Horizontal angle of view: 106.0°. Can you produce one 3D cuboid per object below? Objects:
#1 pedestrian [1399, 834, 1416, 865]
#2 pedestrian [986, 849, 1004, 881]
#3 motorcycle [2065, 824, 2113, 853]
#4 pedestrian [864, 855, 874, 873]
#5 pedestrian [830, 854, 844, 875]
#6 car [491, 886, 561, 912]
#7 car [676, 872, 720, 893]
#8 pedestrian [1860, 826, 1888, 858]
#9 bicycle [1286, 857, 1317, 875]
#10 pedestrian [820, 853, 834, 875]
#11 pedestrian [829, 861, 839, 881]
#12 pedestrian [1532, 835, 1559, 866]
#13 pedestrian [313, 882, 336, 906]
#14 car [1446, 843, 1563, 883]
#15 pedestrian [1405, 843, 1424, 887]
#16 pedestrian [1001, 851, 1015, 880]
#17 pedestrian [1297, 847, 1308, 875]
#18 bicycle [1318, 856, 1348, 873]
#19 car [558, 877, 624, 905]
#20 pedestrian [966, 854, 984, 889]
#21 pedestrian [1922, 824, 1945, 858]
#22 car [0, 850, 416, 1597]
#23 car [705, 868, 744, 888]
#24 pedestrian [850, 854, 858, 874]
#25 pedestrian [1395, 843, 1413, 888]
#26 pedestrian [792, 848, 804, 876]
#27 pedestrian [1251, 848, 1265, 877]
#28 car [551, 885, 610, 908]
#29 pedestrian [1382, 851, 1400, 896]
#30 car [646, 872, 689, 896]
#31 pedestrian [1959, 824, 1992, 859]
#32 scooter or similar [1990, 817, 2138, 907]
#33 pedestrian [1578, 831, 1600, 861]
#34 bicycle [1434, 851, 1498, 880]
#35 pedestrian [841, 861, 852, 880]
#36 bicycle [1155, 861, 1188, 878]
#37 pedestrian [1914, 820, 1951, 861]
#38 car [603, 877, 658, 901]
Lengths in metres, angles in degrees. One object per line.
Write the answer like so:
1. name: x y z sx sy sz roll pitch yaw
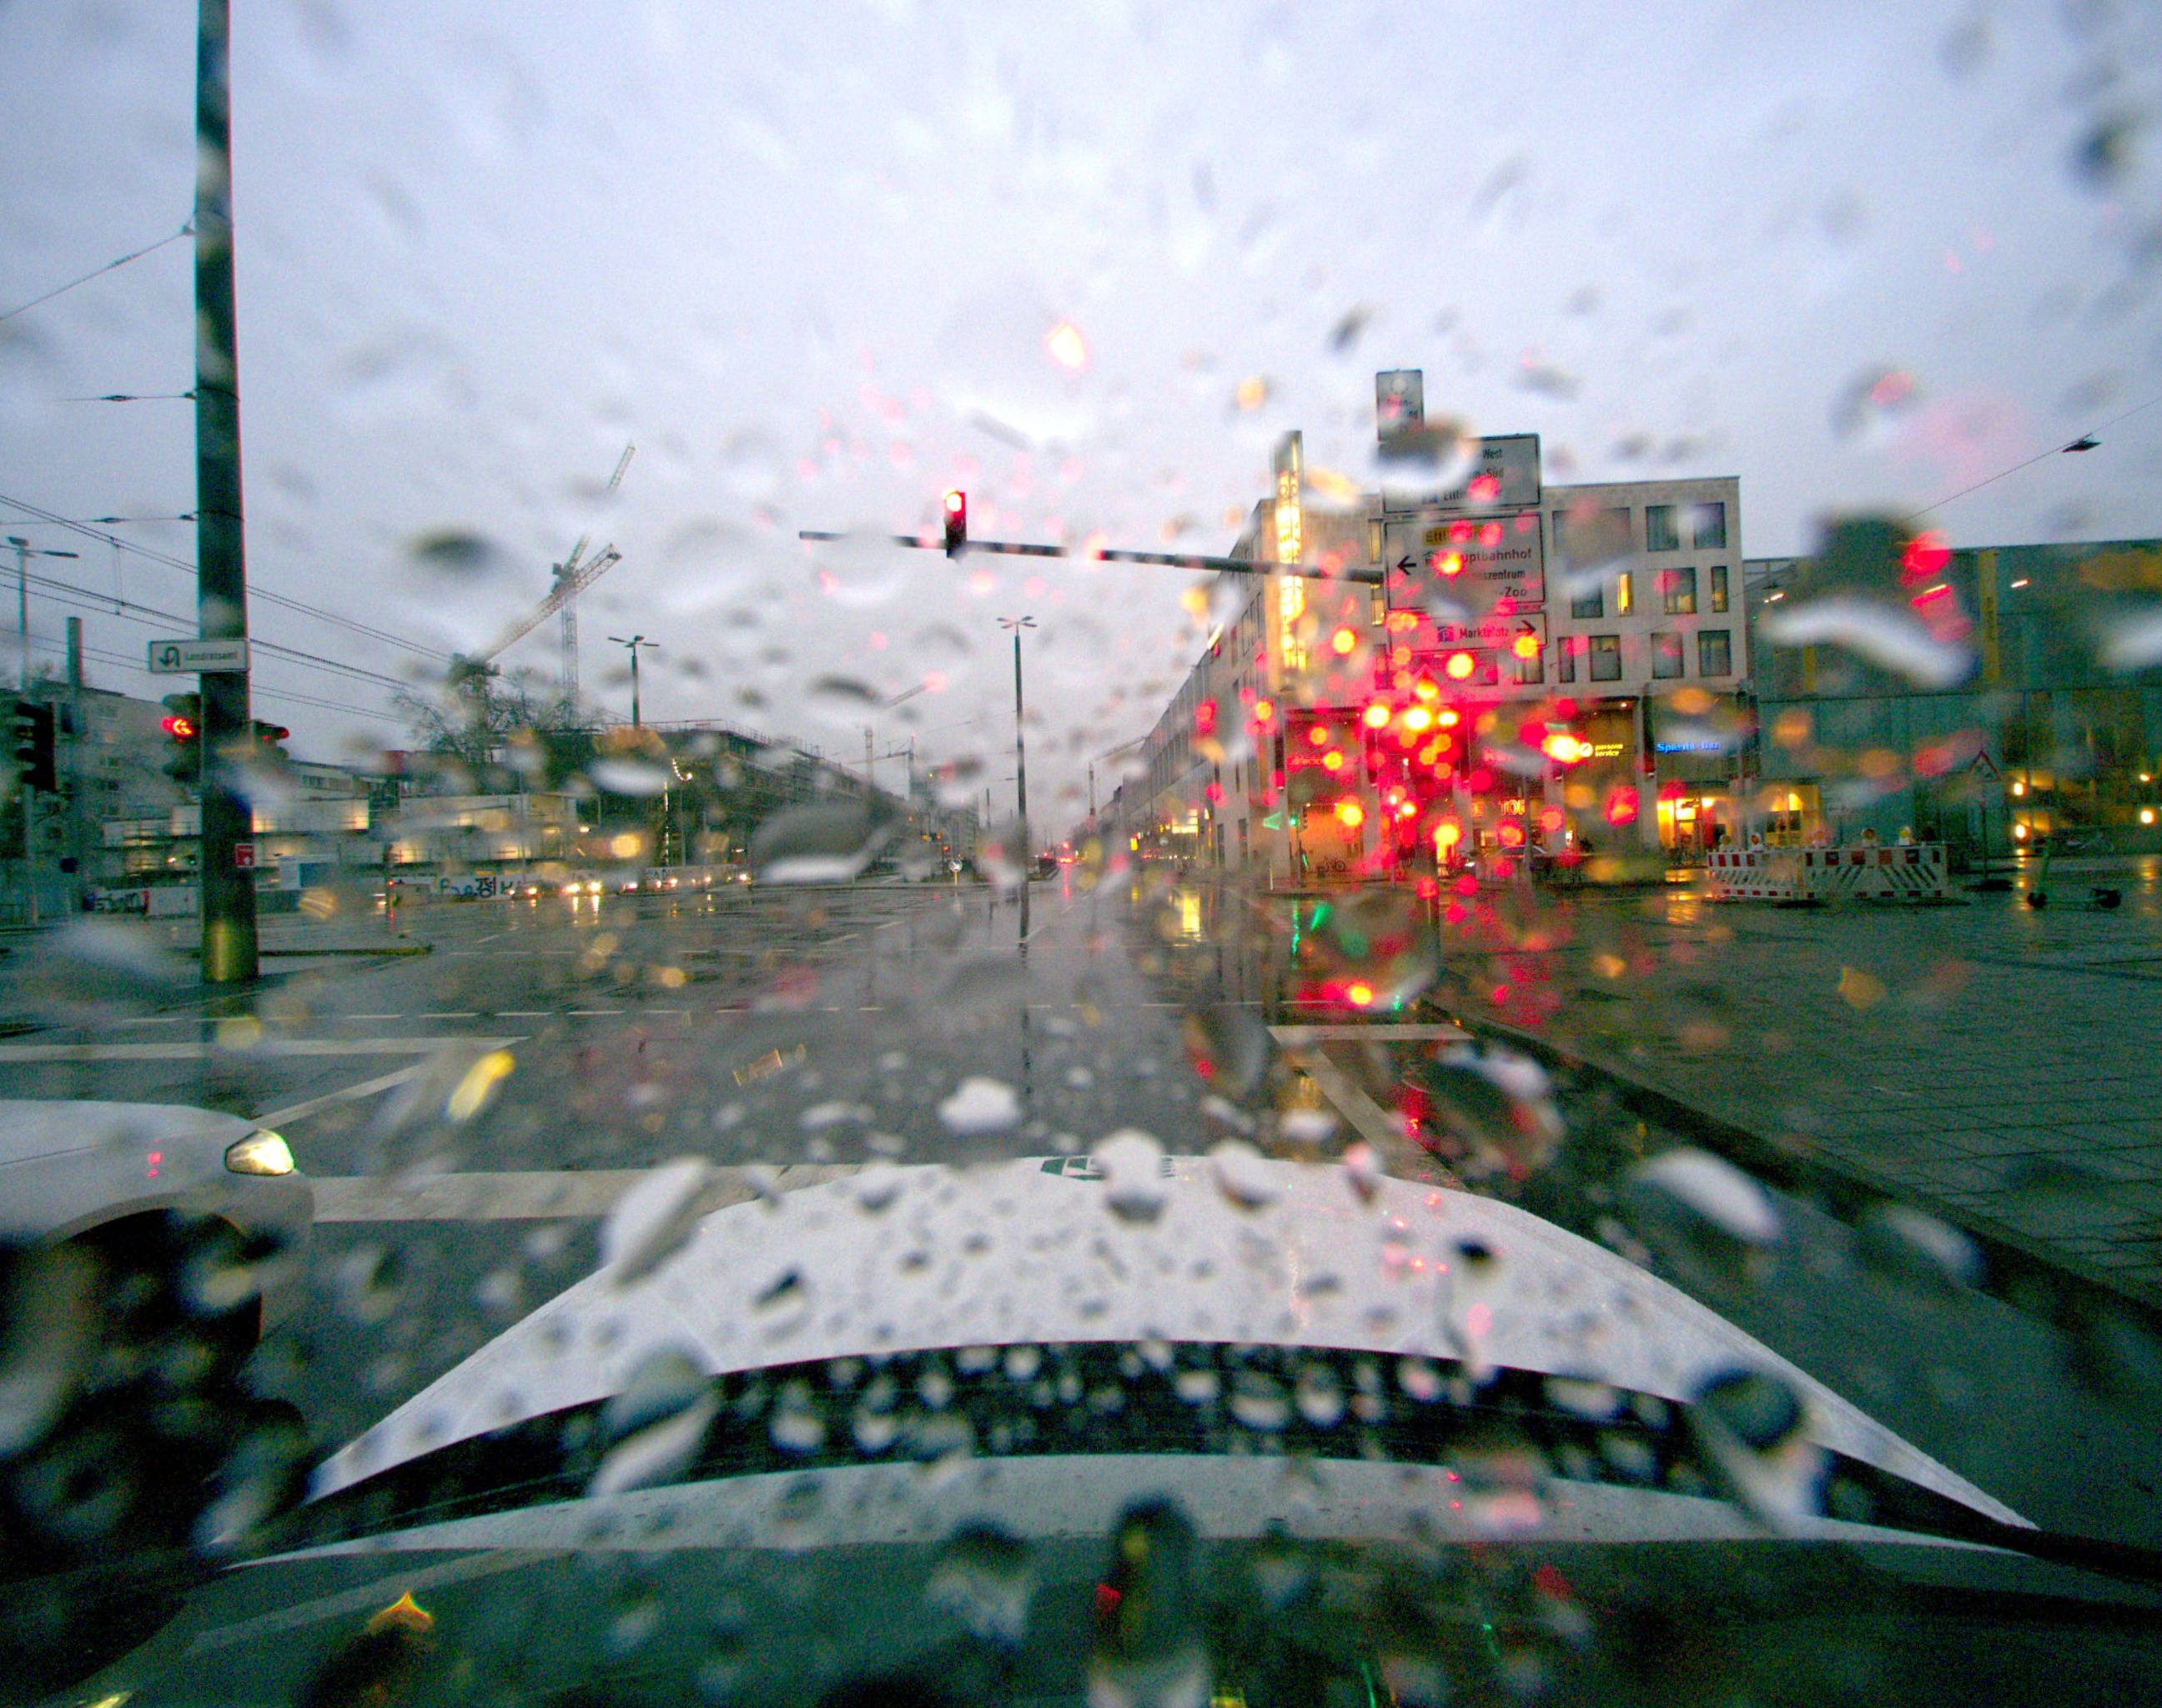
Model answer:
1. pedestrian: 21.596 -0.283 53.897 0.841 2.013 0.700 -2 0 10
2. pedestrian: -4.951 0.641 46.869 0.826 1.831 0.778 0 -1 -29
3. motorcycle: 48.182 -0.752 38.931 1.482 1.352 0.595 0 0 5
4. pedestrian: -23.934 1.111 92.097 0.941 2.014 1.091 0 -1 -7
5. pedestrian: -23.690 1.004 79.064 0.938 2.014 1.095 0 -1 2
6. car: -38.582 3.125 56.739 1.986 1.530 4.001 -2 0 2
7. car: -34.997 2.554 74.593 1.986 1.790 4.002 0 -1 2
8. pedestrian: 41.974 -0.633 43.120 0.737 1.684 0.783 0 -1 8
9. bicycle: 13.660 0.736 50.512 1.765 1.070 0.523 0 -1 -7
10. pedestrian: -23.921 0.923 76.790 0.939 2.014 1.094 0 -1 0
11. pedestrian: -23.588 1.639 77.805 0.696 1.881 0.553 0 -1 1
12. pedestrian: 25.953 -0.205 45.512 1.026 1.684 0.824 0 -1 1
13. pedestrian: -45.869 2.431 49.400 0.725 1.388 0.725 0 -1 4
14. car: 17.915 0.368 34.592 3.970 1.618 2.001 0 -1 3
15. pedestrian: 18.511 0.612 45.205 0.691 2.448 0.792 0 -1 1
16. pedestrian: -4.315 0.683 48.294 0.605 1.686 0.581 -1 -1 44
17. pedestrian: 13.558 0.438 49.945 0.596 1.745 0.526 -1 -1 10
18. bicycle: 15.652 0.654 50.596 1.642 1.070 0.524 0 -1 -2
19. car: -33.721 2.523 56.215 1.986 1.657 4.001 -2 0 2
20. pedestrian: -6.209 1.025 47.646 0.776 2.014 0.732 -1 -1 44
21. pedestrian: 42.187 -0.624 40.306 0.539 1.684 0.583 0 -1 8
22. car: -3.205 0.766 0.336 2.010 1.487 4.561 -2 0 1
23. car: -35.065 2.343 80.150 1.986 1.790 4.002 0 -1 2
24. pedestrian: -22.717 1.008 81.510 0.569 1.968 0.664 1 -1 -4
25. pedestrian: 17.758 0.620 44.747 0.687 2.441 0.758 0 -1 1
26. pedestrian: -24.177 0.706 69.580 0.762 2.323 0.763 0 -2 1
27. pedestrian: 10.711 0.508 49.304 0.634 1.709 0.574 -2 -1 1
28. car: -38.961 3.289 63.460 1.986 1.530 4.001 -2 0 2
29. pedestrian: 16.974 1.080 44.576 0.712 2.441 0.758 0 -1 1
30. car: -34.819 2.499 68.658 1.862 1.828 3.993 0 -1 -5
31. pedestrian: 44.005 -0.616 40.071 0.737 1.684 0.783 0 -1 8
32. scooter or similar: 15.687 0.121 13.054 0.590 1.352 1.495 0 0 2
33. pedestrian: 29.376 -0.432 47.097 0.890 1.684 0.528 -2 -1 1
34. bicycle: 19.257 0.579 40.788 2.705 1.359 0.957 -2 -1 -2
35. pedestrian: -23.083 1.637 80.187 0.762 1.898 0.763 0 -2 1
36. bicycle: 6.828 1.155 61.591 2.434 1.154 0.674 -2 -1 0
37. pedestrian: 35.550 -0.572 34.015 0.737 1.684 0.783 0 -1 8
38. car: -34.271 2.634 62.083 2.074 1.530 4.603 -2 0 -7
